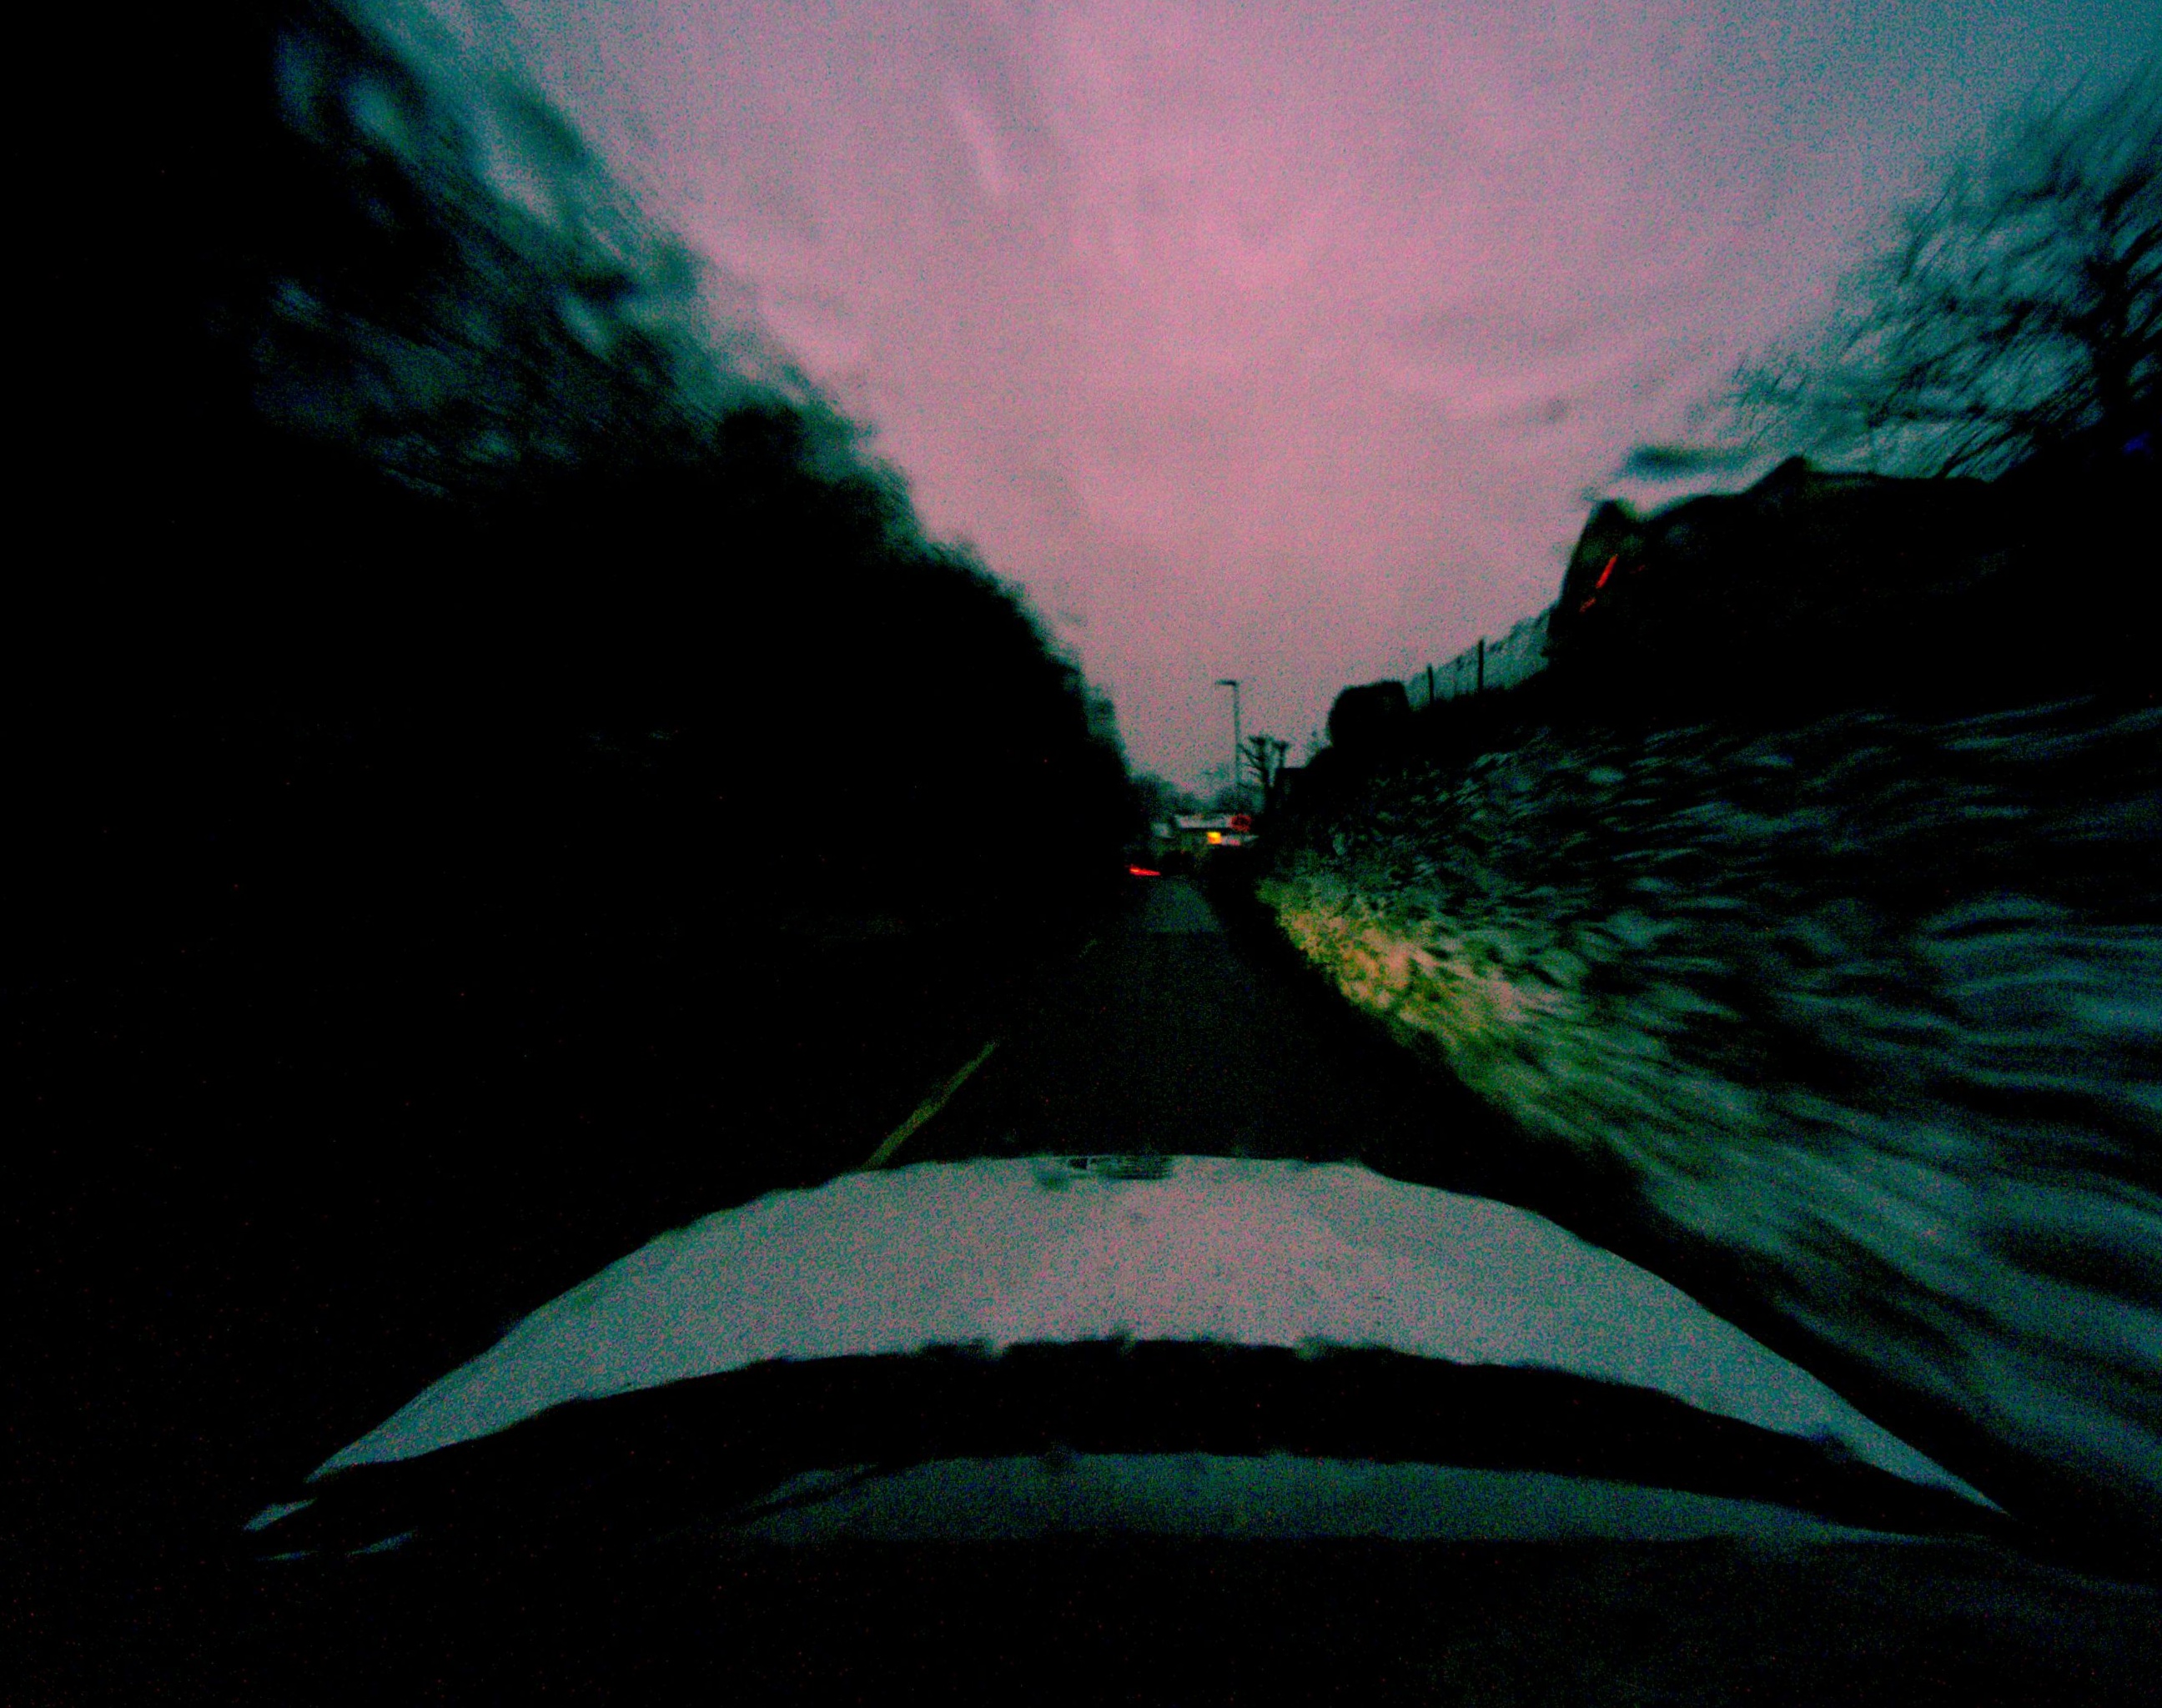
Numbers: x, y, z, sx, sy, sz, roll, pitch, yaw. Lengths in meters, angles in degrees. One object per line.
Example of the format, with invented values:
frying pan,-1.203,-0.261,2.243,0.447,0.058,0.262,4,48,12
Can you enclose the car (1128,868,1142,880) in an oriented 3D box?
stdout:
car,7.839,2.934,118.368,1.796,1.618,4.006,2,-3,6

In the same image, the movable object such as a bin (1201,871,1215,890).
movable object such as a bin,7.182,1.507,45.944,0.680,1.004,0.859,-3,-4,14

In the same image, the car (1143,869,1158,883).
car,8.950,2.870,105.066,1.796,1.739,4.006,2,-3,6
